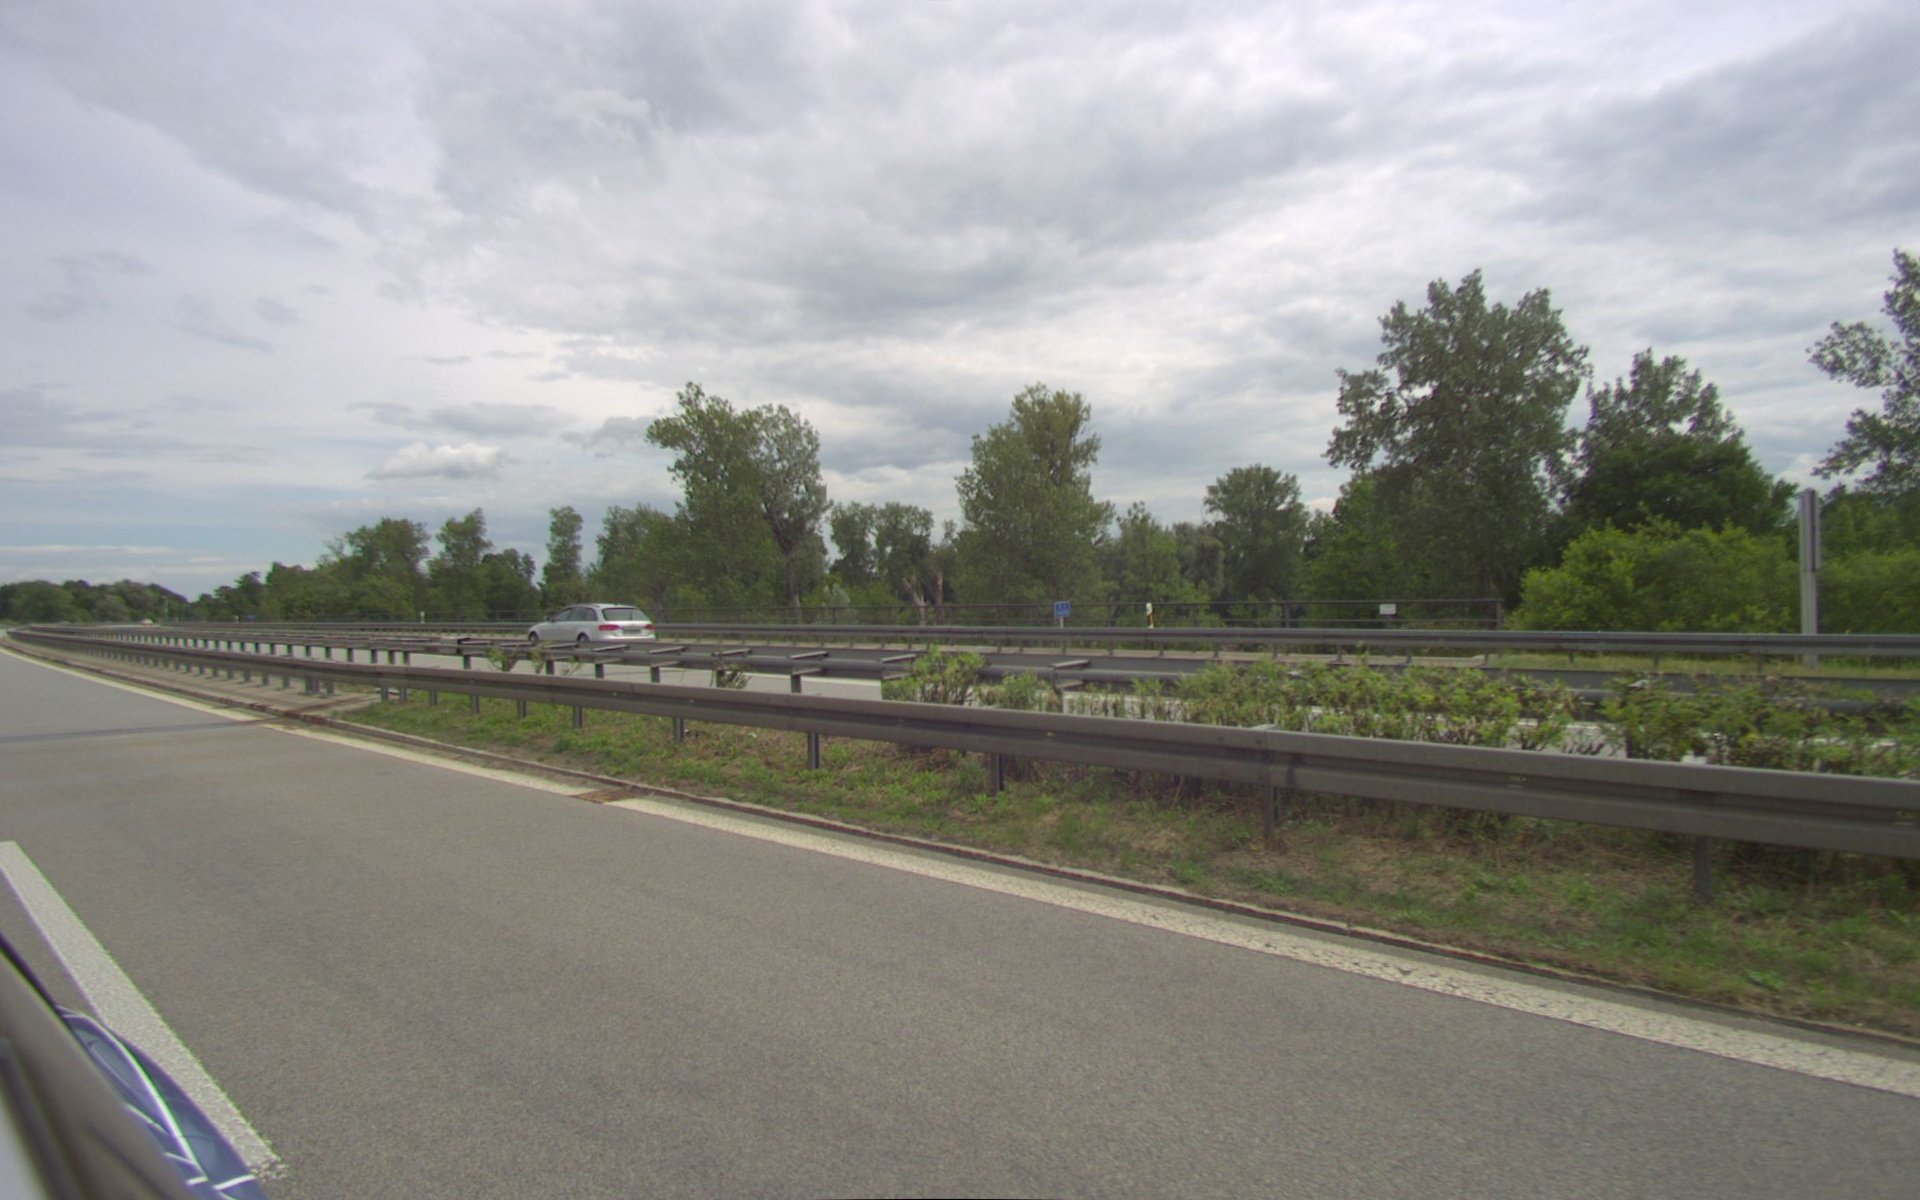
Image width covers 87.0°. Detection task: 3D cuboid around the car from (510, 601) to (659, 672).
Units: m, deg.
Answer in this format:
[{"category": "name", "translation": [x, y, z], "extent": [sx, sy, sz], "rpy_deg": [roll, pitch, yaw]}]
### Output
[{"category": "car", "translation": [-10.178, 0.947, 27.211], "extent": [4.979, 1.728, 1.625], "rpy_deg": [-1, 0, 42]}]
